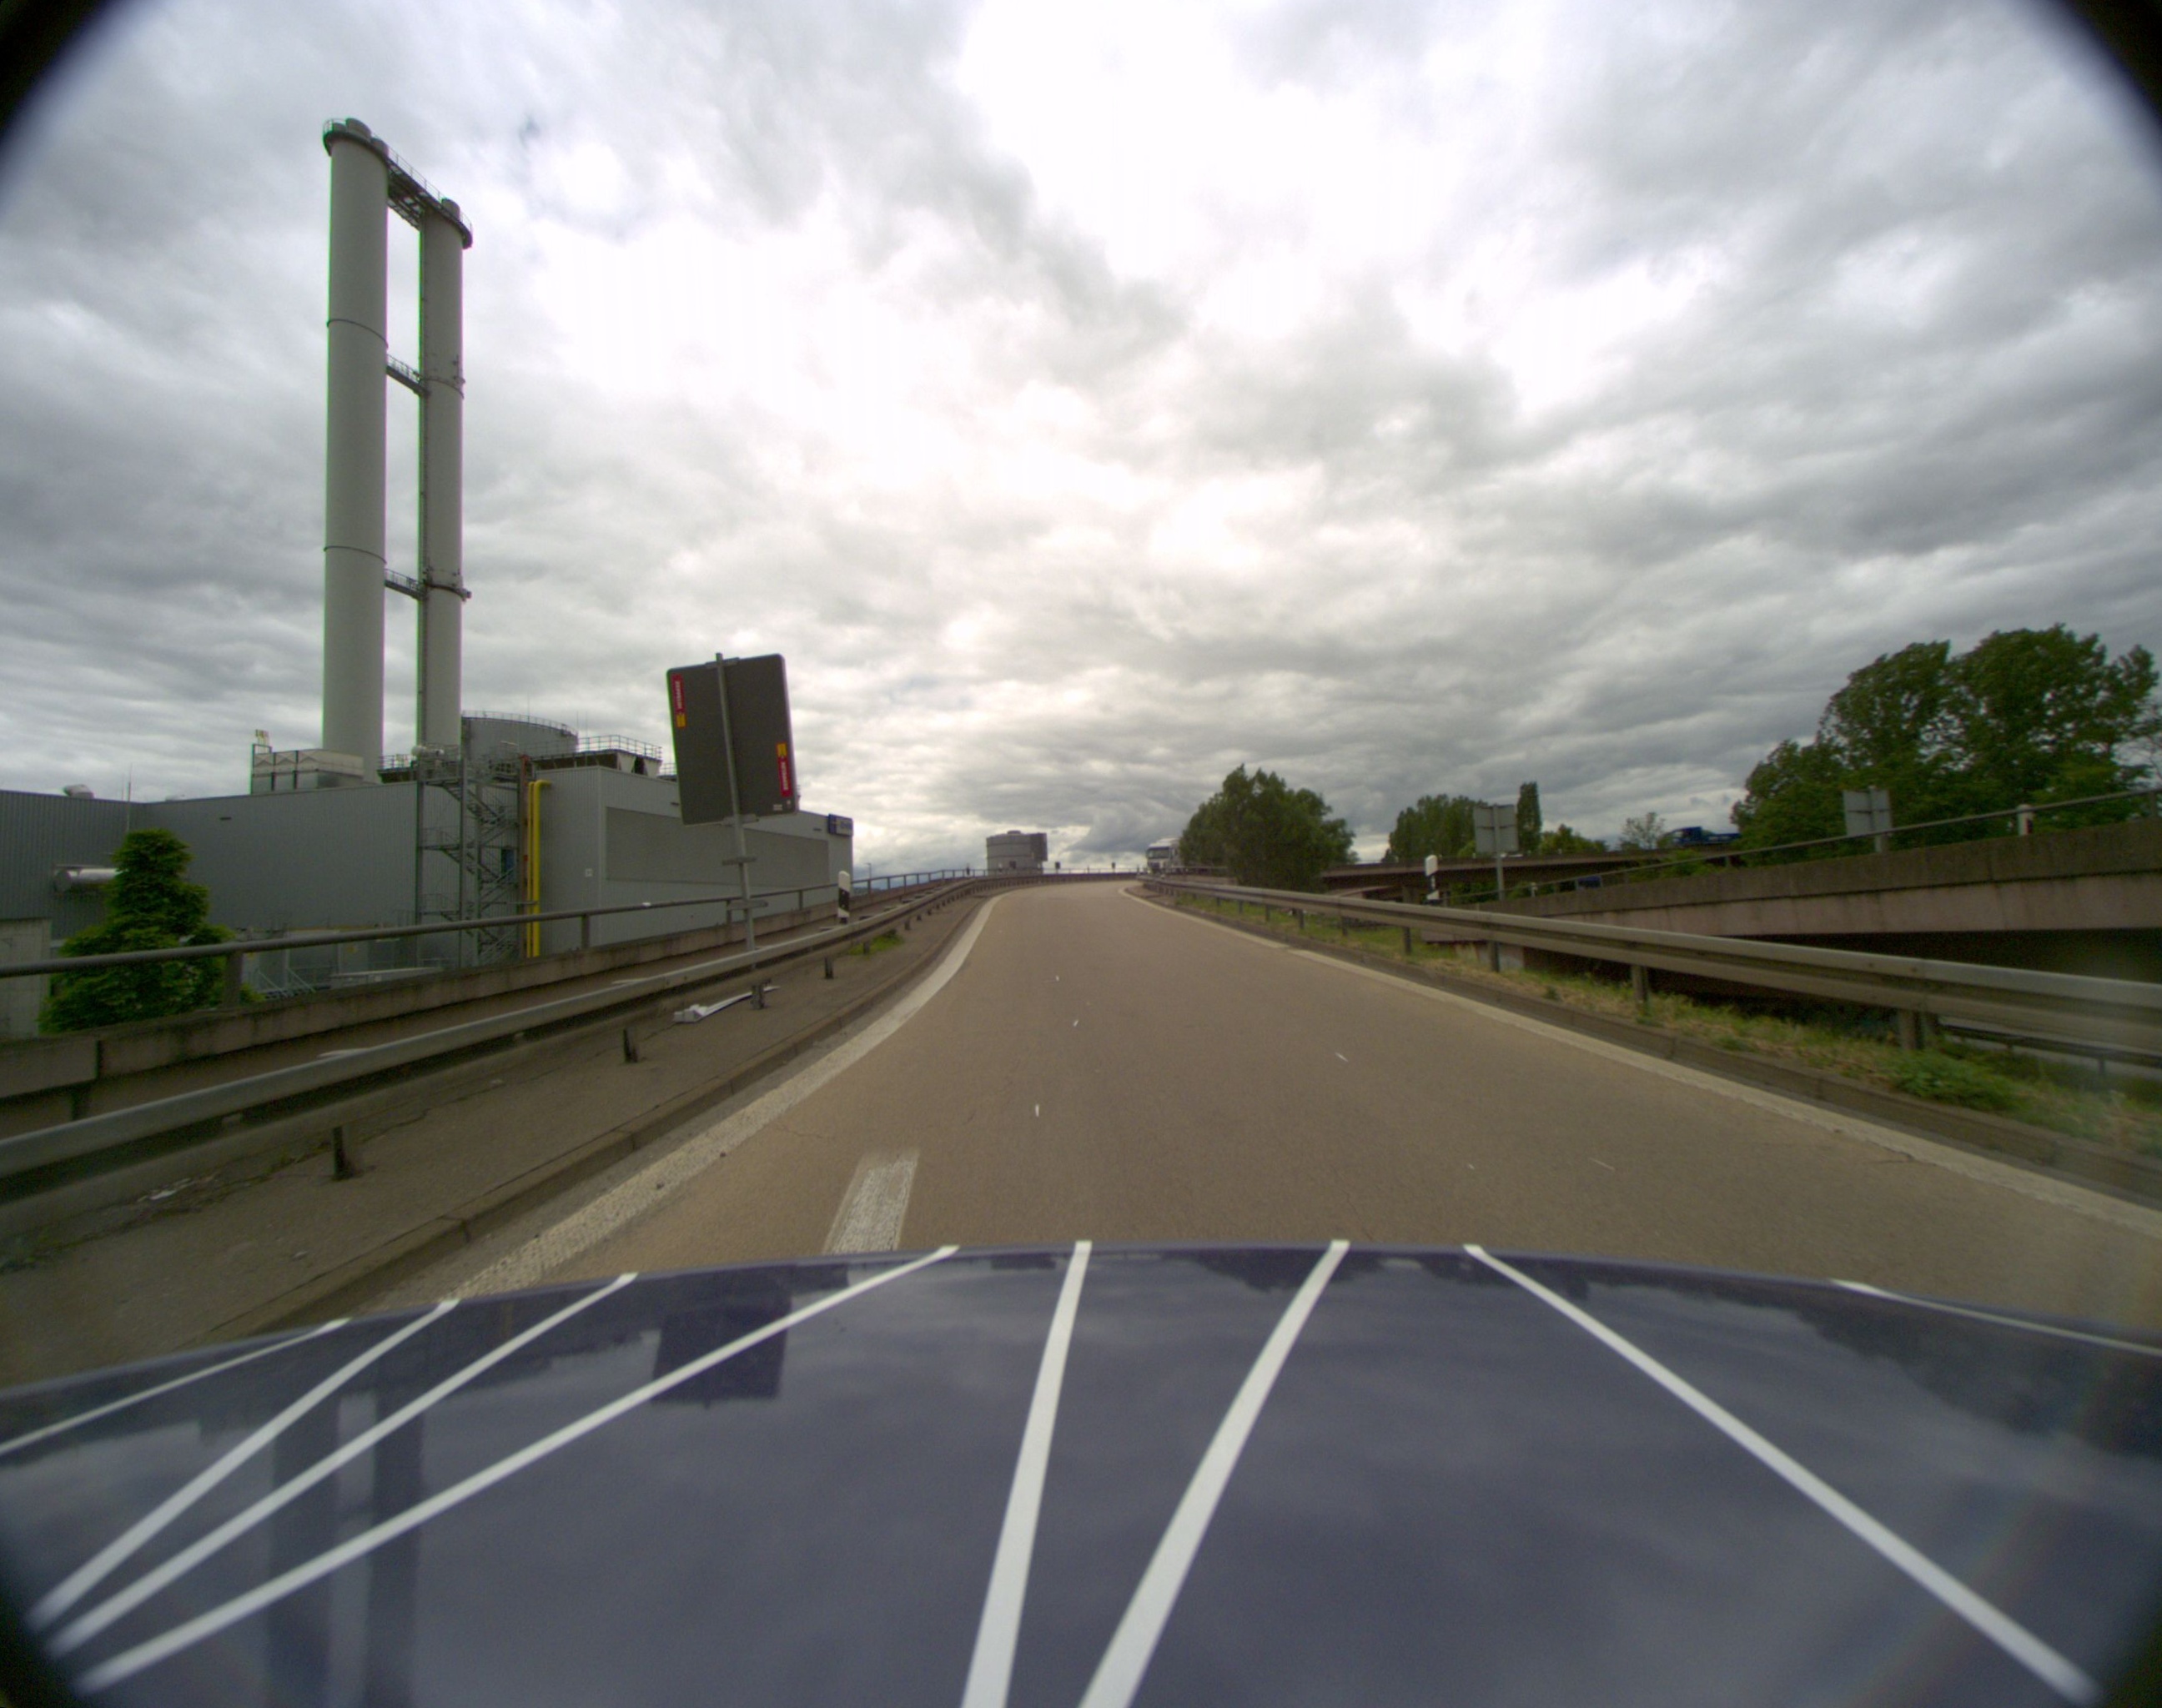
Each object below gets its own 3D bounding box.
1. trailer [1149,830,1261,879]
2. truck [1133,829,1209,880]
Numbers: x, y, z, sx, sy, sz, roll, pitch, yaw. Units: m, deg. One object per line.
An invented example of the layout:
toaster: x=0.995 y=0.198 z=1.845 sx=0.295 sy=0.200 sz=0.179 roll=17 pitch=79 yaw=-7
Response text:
trailer: x=12.591 y=0.106 z=75.340 sx=4.118 sy=4.217 sz=13.922 roll=-5 pitch=-3 yaw=40
truck: x=8.365 y=0.119 z=70.164 sx=4.157 sy=4.276 sz=5.978 roll=-5 pitch=-3 yaw=40
